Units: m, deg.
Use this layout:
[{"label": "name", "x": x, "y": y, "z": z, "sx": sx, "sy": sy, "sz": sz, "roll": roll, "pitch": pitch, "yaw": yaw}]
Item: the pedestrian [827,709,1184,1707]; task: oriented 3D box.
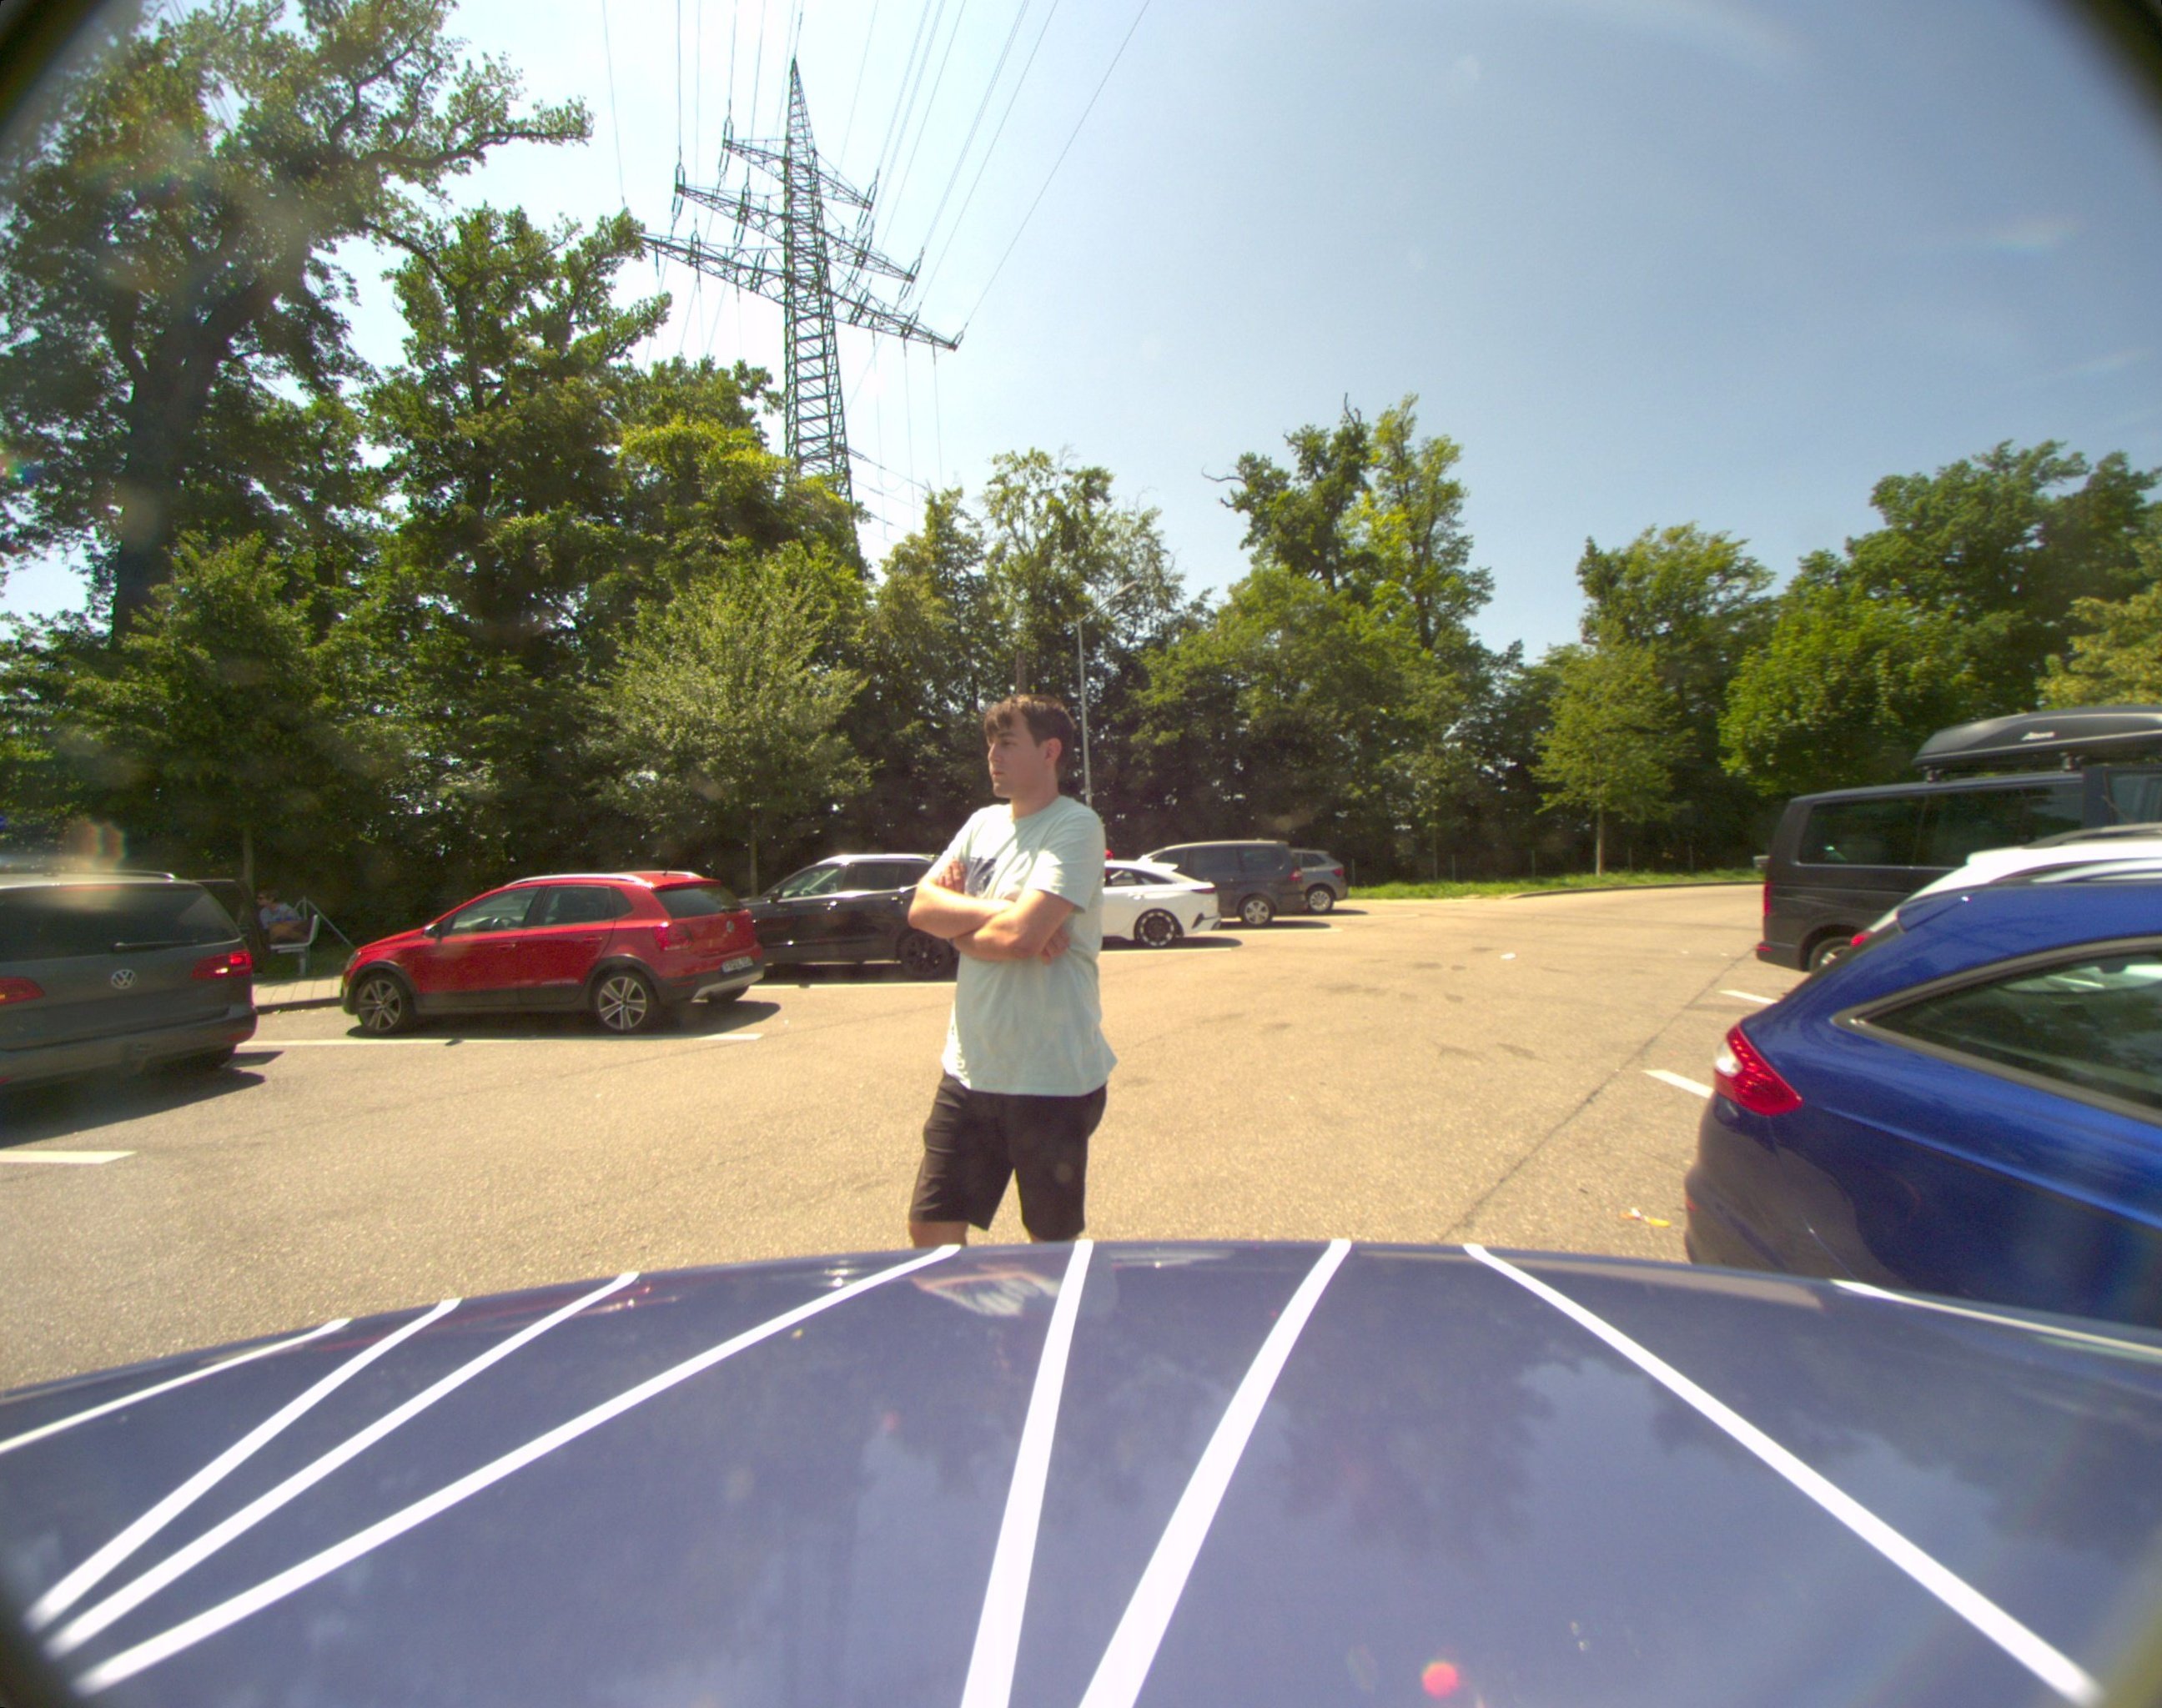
[{"label": "pedestrian", "x": -0.231, "y": 0.662, "z": 1.828, "sx": 0.634, "sy": 1.857, "sz": 0.747, "roll": -2, "pitch": 0, "yaw": -17}]

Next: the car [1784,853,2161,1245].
[{"label": "car", "x": 4.774, "y": 0.708, "z": 2.387, "sx": 1.607, "sy": 1.405, "sz": 3.743, "roll": -2, "pitch": -1, "yaw": -1}]

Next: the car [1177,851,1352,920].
[{"label": "car", "x": 4.251, "y": 0.717, "z": 18.094, "sx": 3.805, "sy": 1.468, "sz": 1.743, "roll": -1, "pitch": 1, "yaw": 5}]

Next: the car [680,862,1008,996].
[{"label": "car", "x": -3.013, "y": 0.948, "z": 10.249, "sx": 3.806, "sy": 1.538, "sz": 1.759, "roll": -1, "pitch": 1, "yaw": 2}]

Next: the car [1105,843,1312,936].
[{"label": "car", "x": 2.503, "y": 0.690, "z": 15.450, "sx": 3.882, "sy": 1.680, "sz": 1.882, "roll": -1, "pitch": 0, "yaw": 5}]

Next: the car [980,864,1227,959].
[{"label": "car", "x": 0.401, "y": 0.917, "z": 12.700, "sx": 3.805, "sy": 1.359, "sz": 1.803, "roll": -1, "pitch": 1, "yaw": 5}]

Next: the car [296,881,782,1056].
[{"label": "car", "x": -5.247, "y": 1.073, "z": 7.622, "sx": 3.804, "sy": 1.449, "sz": 1.637, "roll": -1, "pitch": 1, "yaw": 7}]

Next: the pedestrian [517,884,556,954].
[{"label": "pedestrian", "x": -10.961, "y": 1.292, "z": 15.297, "sx": 0.490, "sy": 1.367, "sz": 0.506, "roll": -2, "pitch": 0, "yaw": 41}]

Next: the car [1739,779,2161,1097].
[{"label": "car", "x": 7.302, "y": 0.463, "z": 4.984, "sx": 2.048, "sy": 1.850, "sz": 4.430, "roll": -2, "pitch": -1, "yaw": -1}]

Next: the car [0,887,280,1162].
[{"label": "car", "x": -8.348, "y": 1.104, "z": 5.405, "sx": 3.950, "sy": 1.581, "sz": 1.753, "roll": -1, "pitch": 1, "yaw": 11}]

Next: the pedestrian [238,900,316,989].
[{"label": "pedestrian", "x": -11.722, "y": 1.302, "z": 11.082, "sx": 0.680, "sy": 1.211, "sz": 0.675, "roll": -4, "pitch": -2, "yaw": 36}]

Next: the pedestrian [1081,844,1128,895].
[{"label": "pedestrian", "x": 0.630, "y": 0.412, "z": 20.140, "sx": 0.889, "sy": 1.292, "sz": 0.865, "roll": -2, "pitch": 0, "yaw": 28}]

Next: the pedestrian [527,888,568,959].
[{"label": "pedestrian", "x": -10.175, "y": 1.309, "z": 14.491, "sx": 0.490, "sy": 1.291, "sz": 0.506, "roll": -2, "pitch": 0, "yaw": 41}]
